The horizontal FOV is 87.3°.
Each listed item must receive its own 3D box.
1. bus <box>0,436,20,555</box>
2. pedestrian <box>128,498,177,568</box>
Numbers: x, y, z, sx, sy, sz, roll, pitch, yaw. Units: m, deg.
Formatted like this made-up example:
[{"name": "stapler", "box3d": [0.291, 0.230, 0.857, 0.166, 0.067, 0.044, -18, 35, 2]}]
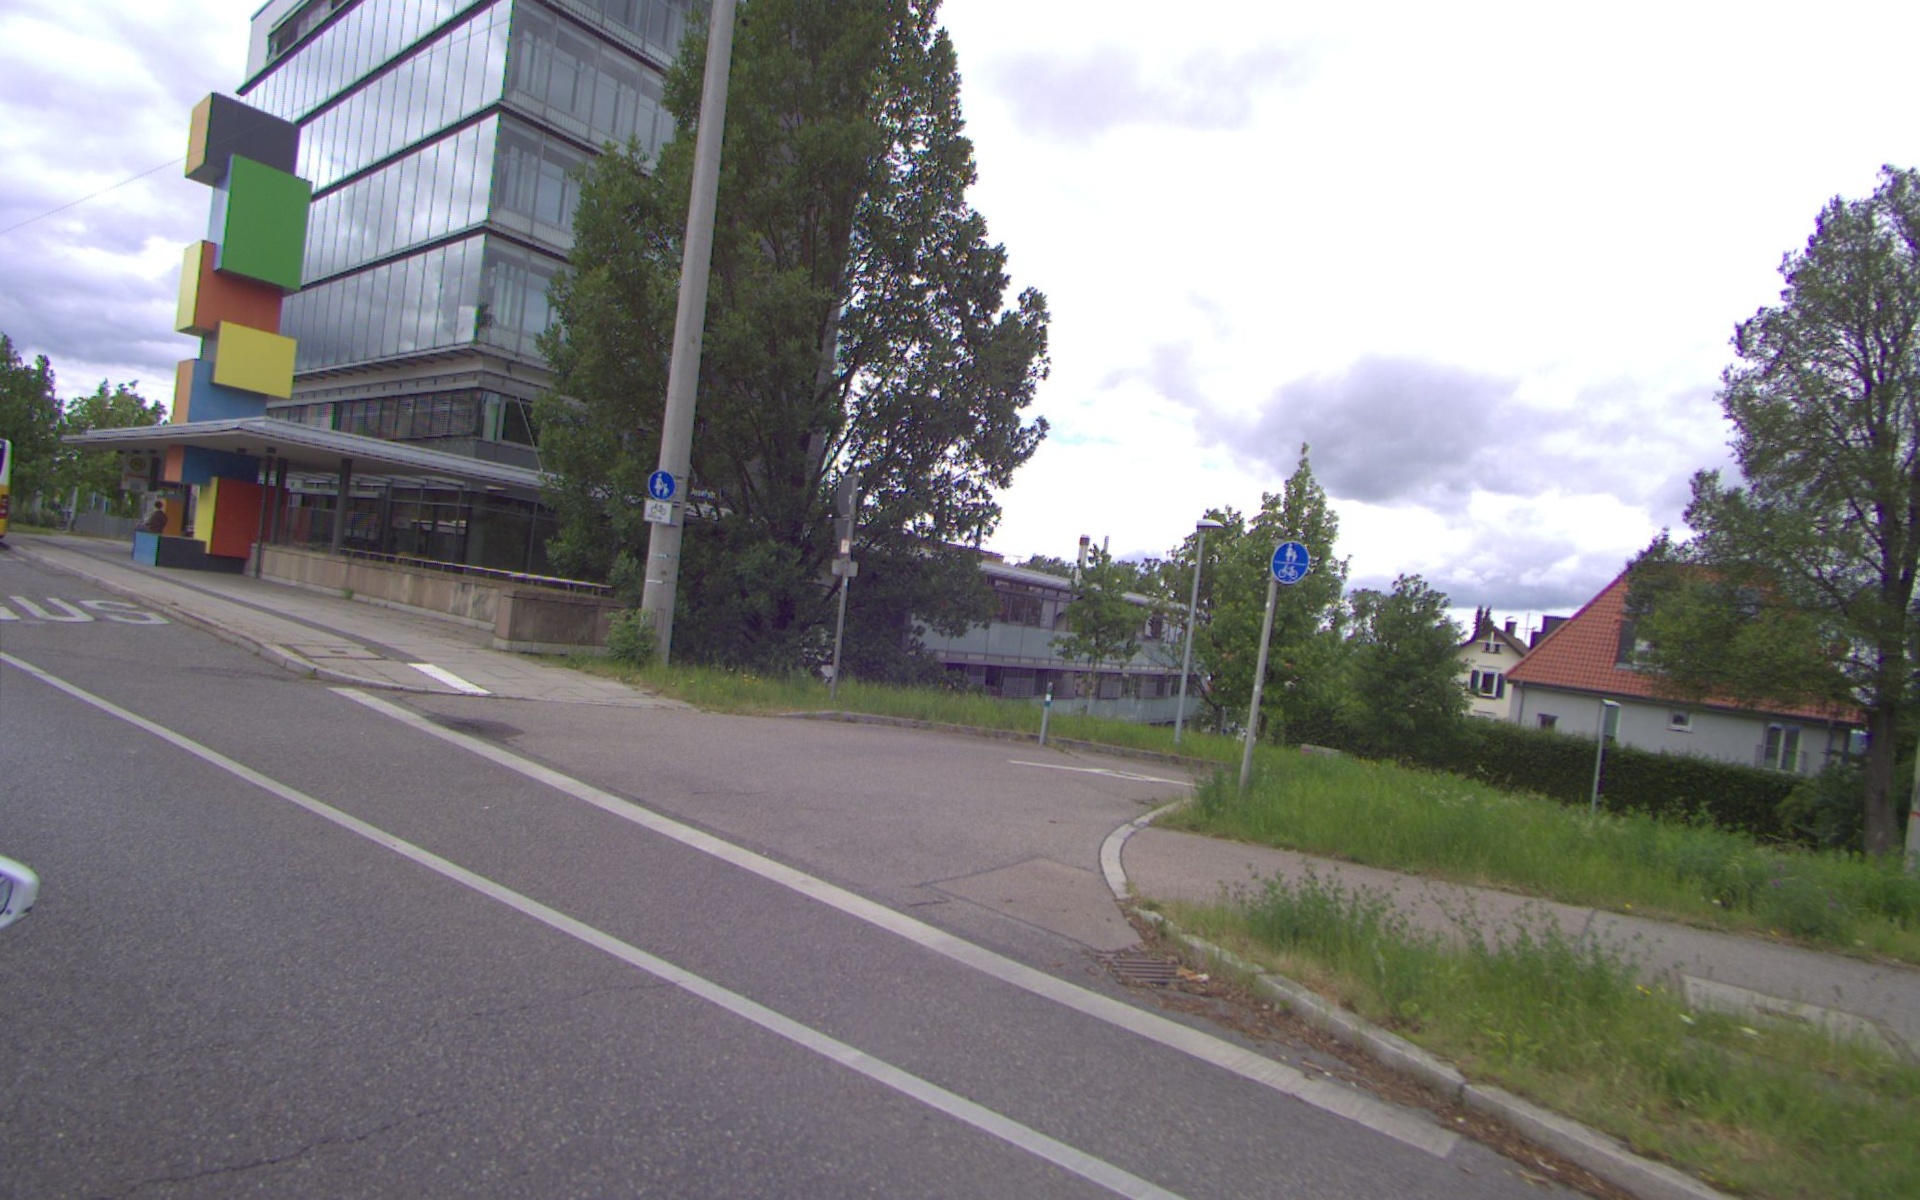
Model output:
[{"name": "bus", "box3d": [-30.918, -3.392, 30.337, 9.794, 3.231, 2.947, 7, 1, 43]}, {"name": "pedestrian", "box3d": [-22.816, -1.898, 28.427, 0.751, 1.838, 0.710, 7, 0, 32]}]
